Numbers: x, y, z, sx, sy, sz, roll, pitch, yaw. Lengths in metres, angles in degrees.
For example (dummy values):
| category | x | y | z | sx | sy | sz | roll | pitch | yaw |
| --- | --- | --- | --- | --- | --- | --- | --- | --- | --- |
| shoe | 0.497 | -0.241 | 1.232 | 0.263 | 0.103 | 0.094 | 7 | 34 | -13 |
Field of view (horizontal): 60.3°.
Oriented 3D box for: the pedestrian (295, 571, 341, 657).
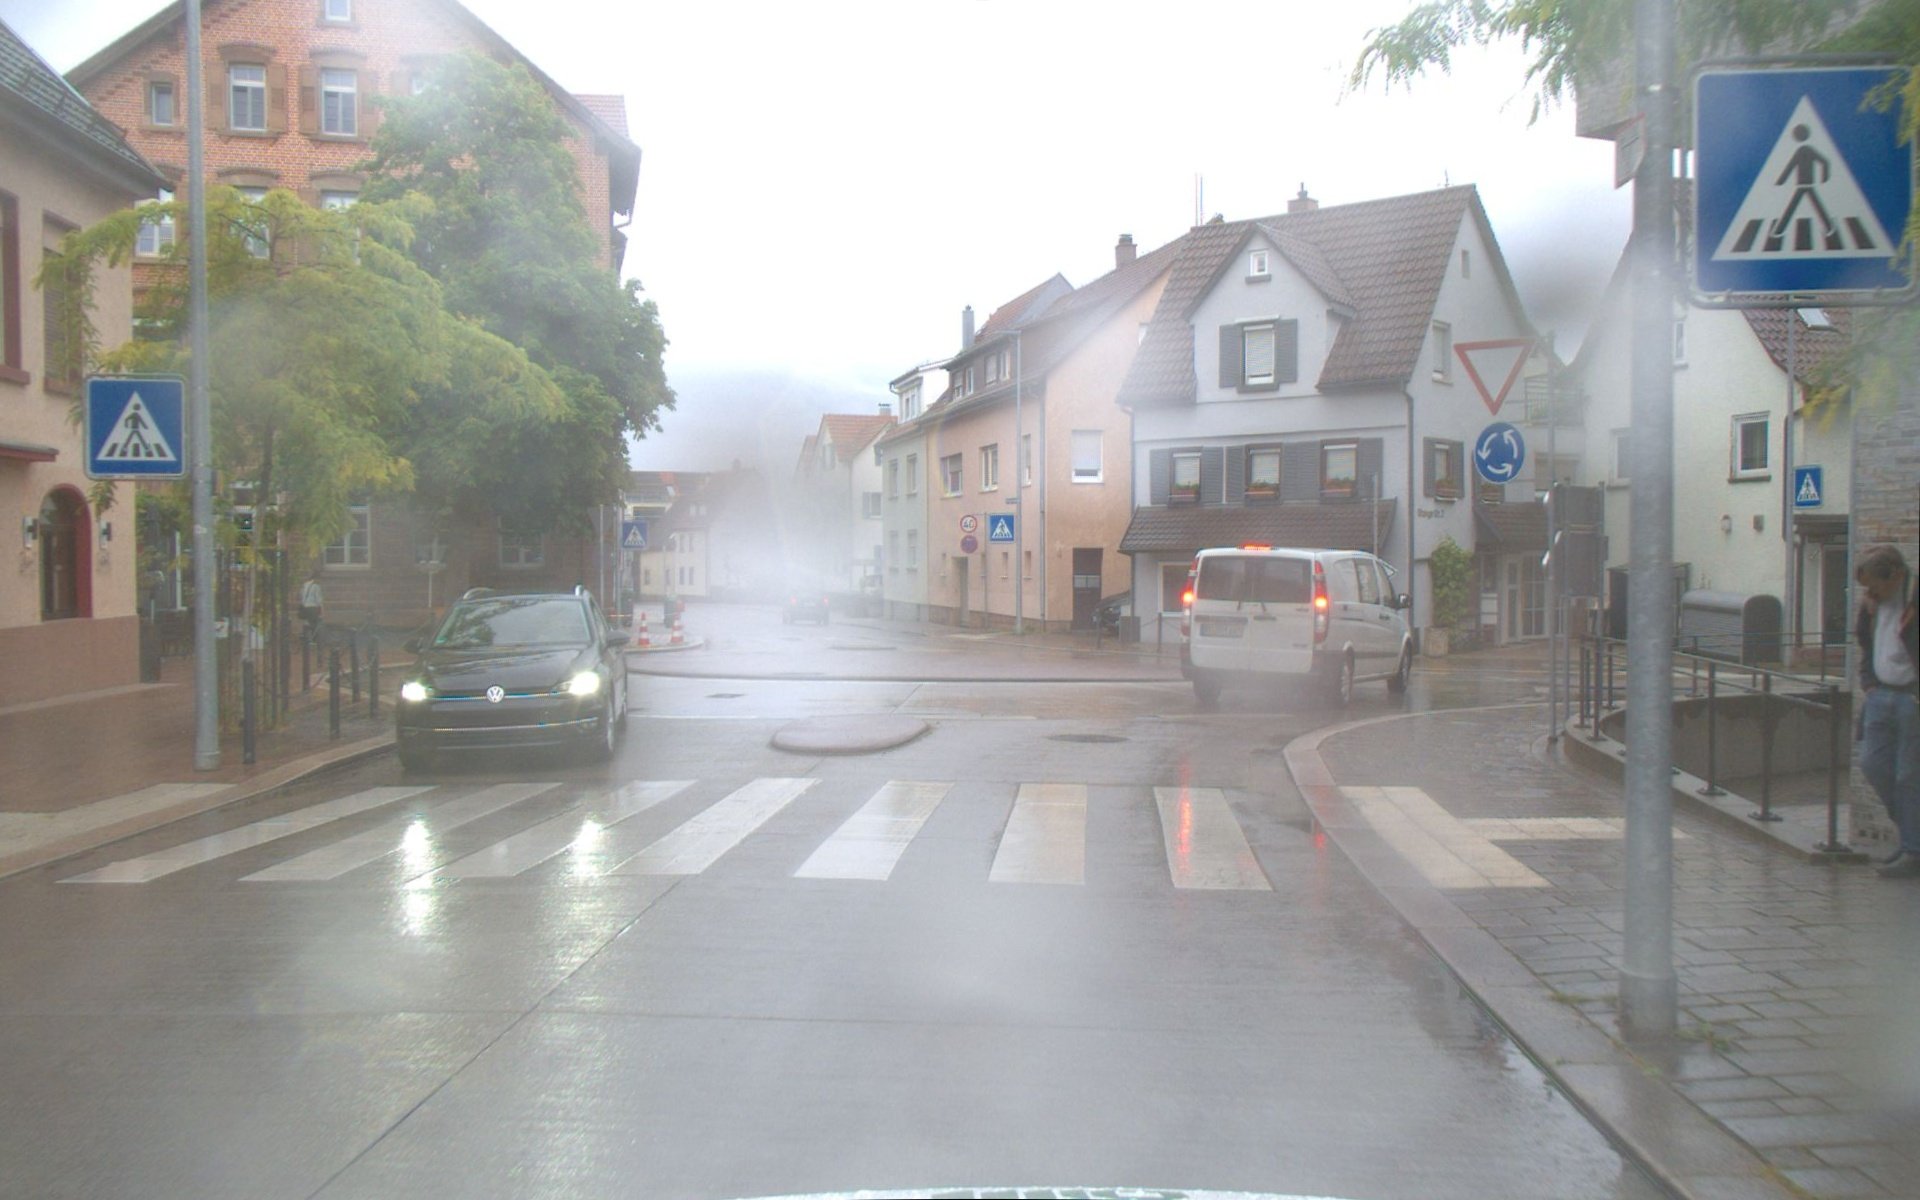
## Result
| category | x | y | z | sx | sy | sz | roll | pitch | yaw |
| --- | --- | --- | --- | --- | --- | --- | --- | --- | --- |
| pedestrian | -14.642 | 0.323 | 37.753 | 0.825 | 1.919 | 0.822 | 1 | -1 | -13 |

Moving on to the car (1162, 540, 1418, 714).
| category | x | y | z | sx | sy | sz | roll | pitch | yaw |
| --- | --- | --- | --- | --- | --- | --- | --- | --- | --- |
| car | 4.329 | 0.327 | 21.002 | 2.110 | 1.932 | 4.922 | 0 | -1 | 25 |

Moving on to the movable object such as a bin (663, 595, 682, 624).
| category | x | y | z | sx | sy | sz | roll | pitch | yaw |
| --- | --- | --- | --- | --- | --- | --- | --- | --- | --- |
| movable object such as a bin | -11.637 | 0.382 | 66.950 | 0.644 | 1.189 | 0.778 | 1 | -1 | -16 |

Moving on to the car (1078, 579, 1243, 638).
| category | x | y | z | sx | sy | sz | roll | pitch | yaw |
| --- | --- | --- | --- | --- | --- | --- | --- | --- | --- |
| car | 5.305 | 0.233 | 43.912 | 3.925 | 1.512 | 1.990 | 0 | -1 | -18 |

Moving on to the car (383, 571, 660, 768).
| category | x | y | z | sx | sy | sz | roll | pitch | yaw |
| --- | --- | --- | --- | --- | --- | --- | --- | --- | --- |
| car | -3.837 | 0.501 | 15.193 | 1.752 | 1.534 | 4.464 | 0 | 1 | -6 |

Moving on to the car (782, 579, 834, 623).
| category | x | y | z | sx | sy | sz | roll | pitch | yaw |
| --- | --- | --- | --- | --- | --- | --- | --- | --- | --- |
| car | -6.058 | 0.068 | 65.633 | 1.935 | 1.709 | 4.062 | 0 | -1 | -7 |

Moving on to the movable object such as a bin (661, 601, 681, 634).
| category | x | y | z | sx | sy | sz | roll | pitch | yaw |
| --- | --- | --- | --- | --- | --- | --- | --- | --- | --- |
| movable object such as a bin | -10.841 | 0.649 | 62.026 | 0.616 | 1.193 | 0.758 | 1 | -1 | -16 |

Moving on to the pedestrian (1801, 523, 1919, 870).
| category | x | y | z | sx | sy | sz | roll | pitch | yaw |
| --- | --- | --- | --- | --- | --- | --- | --- | --- | --- |
| pedestrian | 4.686 | 0.447 | 8.197 | 0.572 | 1.634 | 0.702 | -2 | 0 | -10 |
